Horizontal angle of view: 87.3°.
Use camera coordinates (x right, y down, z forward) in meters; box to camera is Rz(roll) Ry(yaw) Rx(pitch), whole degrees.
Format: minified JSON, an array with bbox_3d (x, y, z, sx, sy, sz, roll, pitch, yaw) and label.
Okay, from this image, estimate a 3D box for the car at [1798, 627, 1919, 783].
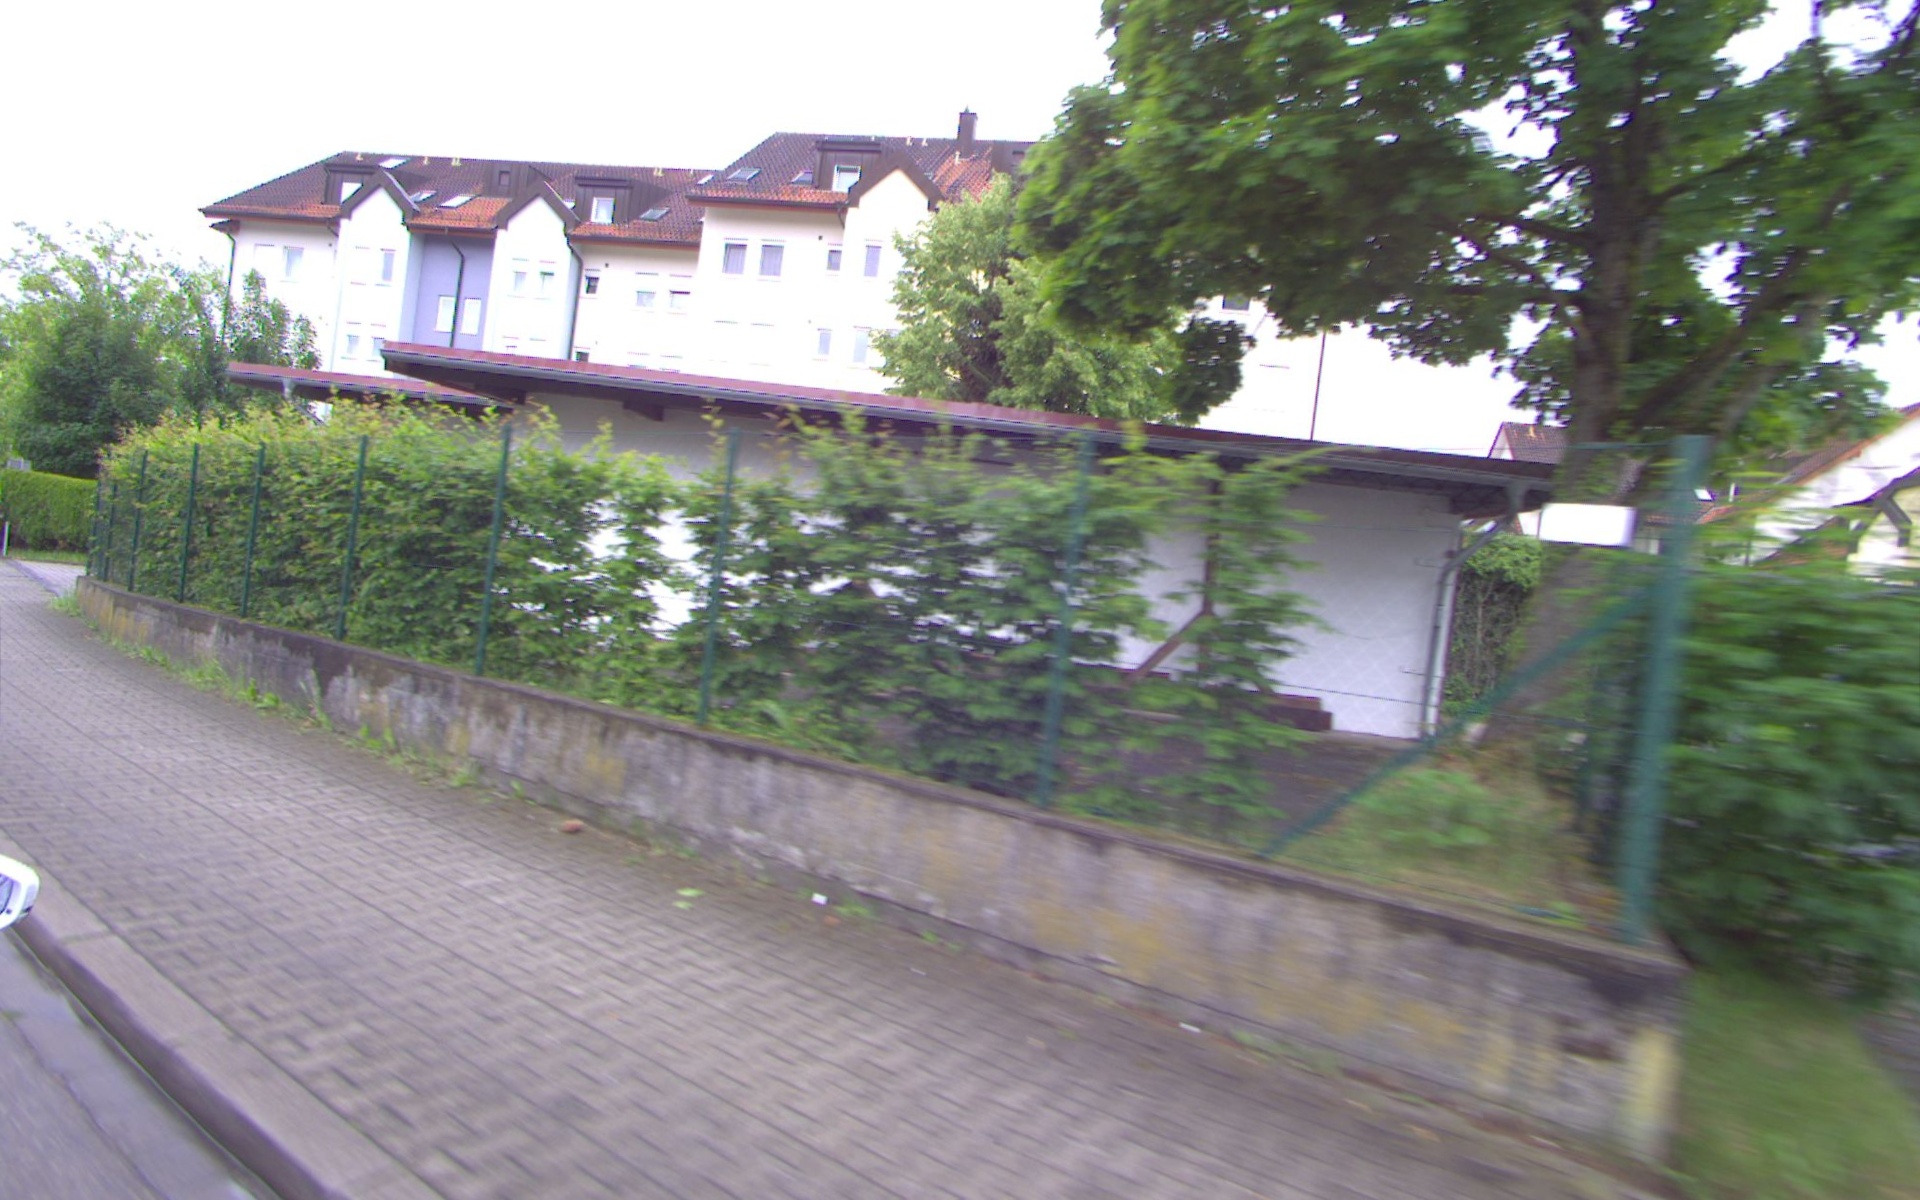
[{"bbox_3d":[15.004,1.647,13.844,4.840,2.038,2.002,6,-1,9],"label":"car"}]
